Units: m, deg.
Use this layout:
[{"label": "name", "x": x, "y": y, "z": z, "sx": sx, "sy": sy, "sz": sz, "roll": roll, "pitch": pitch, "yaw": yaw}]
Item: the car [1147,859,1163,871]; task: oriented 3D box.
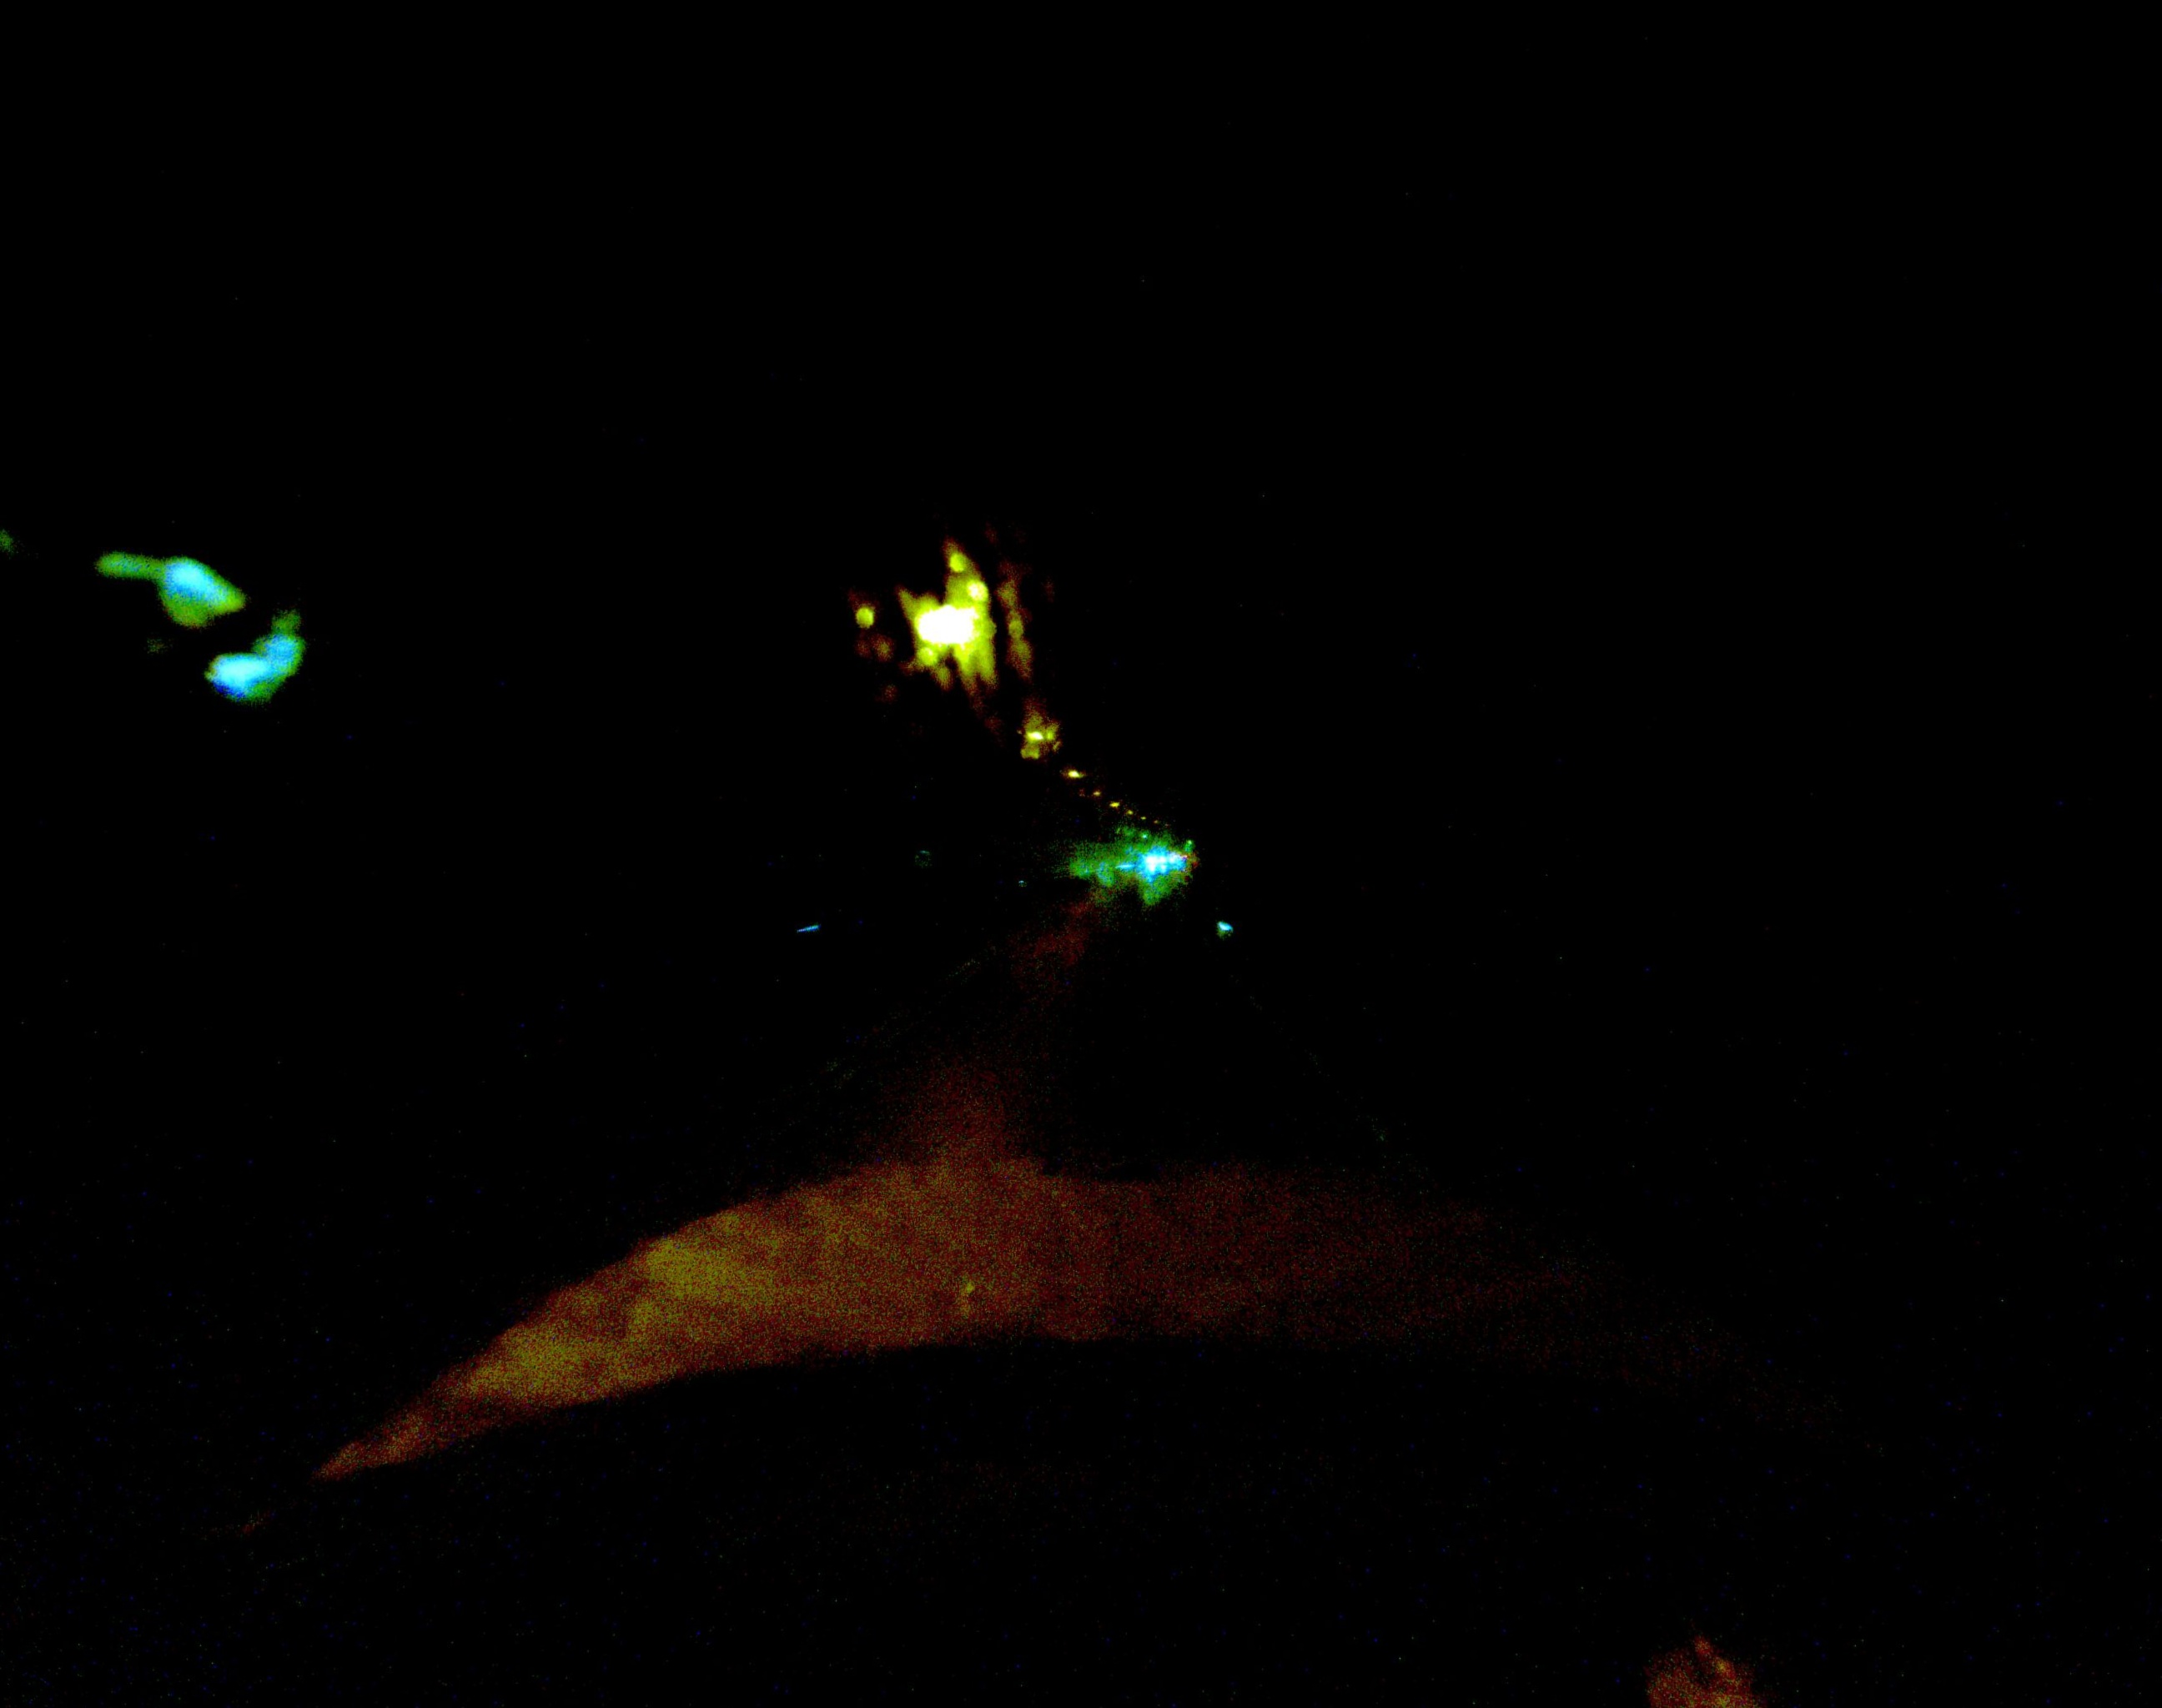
[{"label": "car", "x": 9.140, "y": 1.379, "z": 100.269, "sx": 1.620, "sy": 1.447, "sz": 3.936, "roll": 0, "pitch": 0, "yaw": 0}]

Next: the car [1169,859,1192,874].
[{"label": "car", "x": 11.659, "y": 1.486, "z": 95.260, "sx": 1.977, "sy": 1.650, "sz": 4.019, "roll": -1, "pitch": 0, "yaw": 18}]
